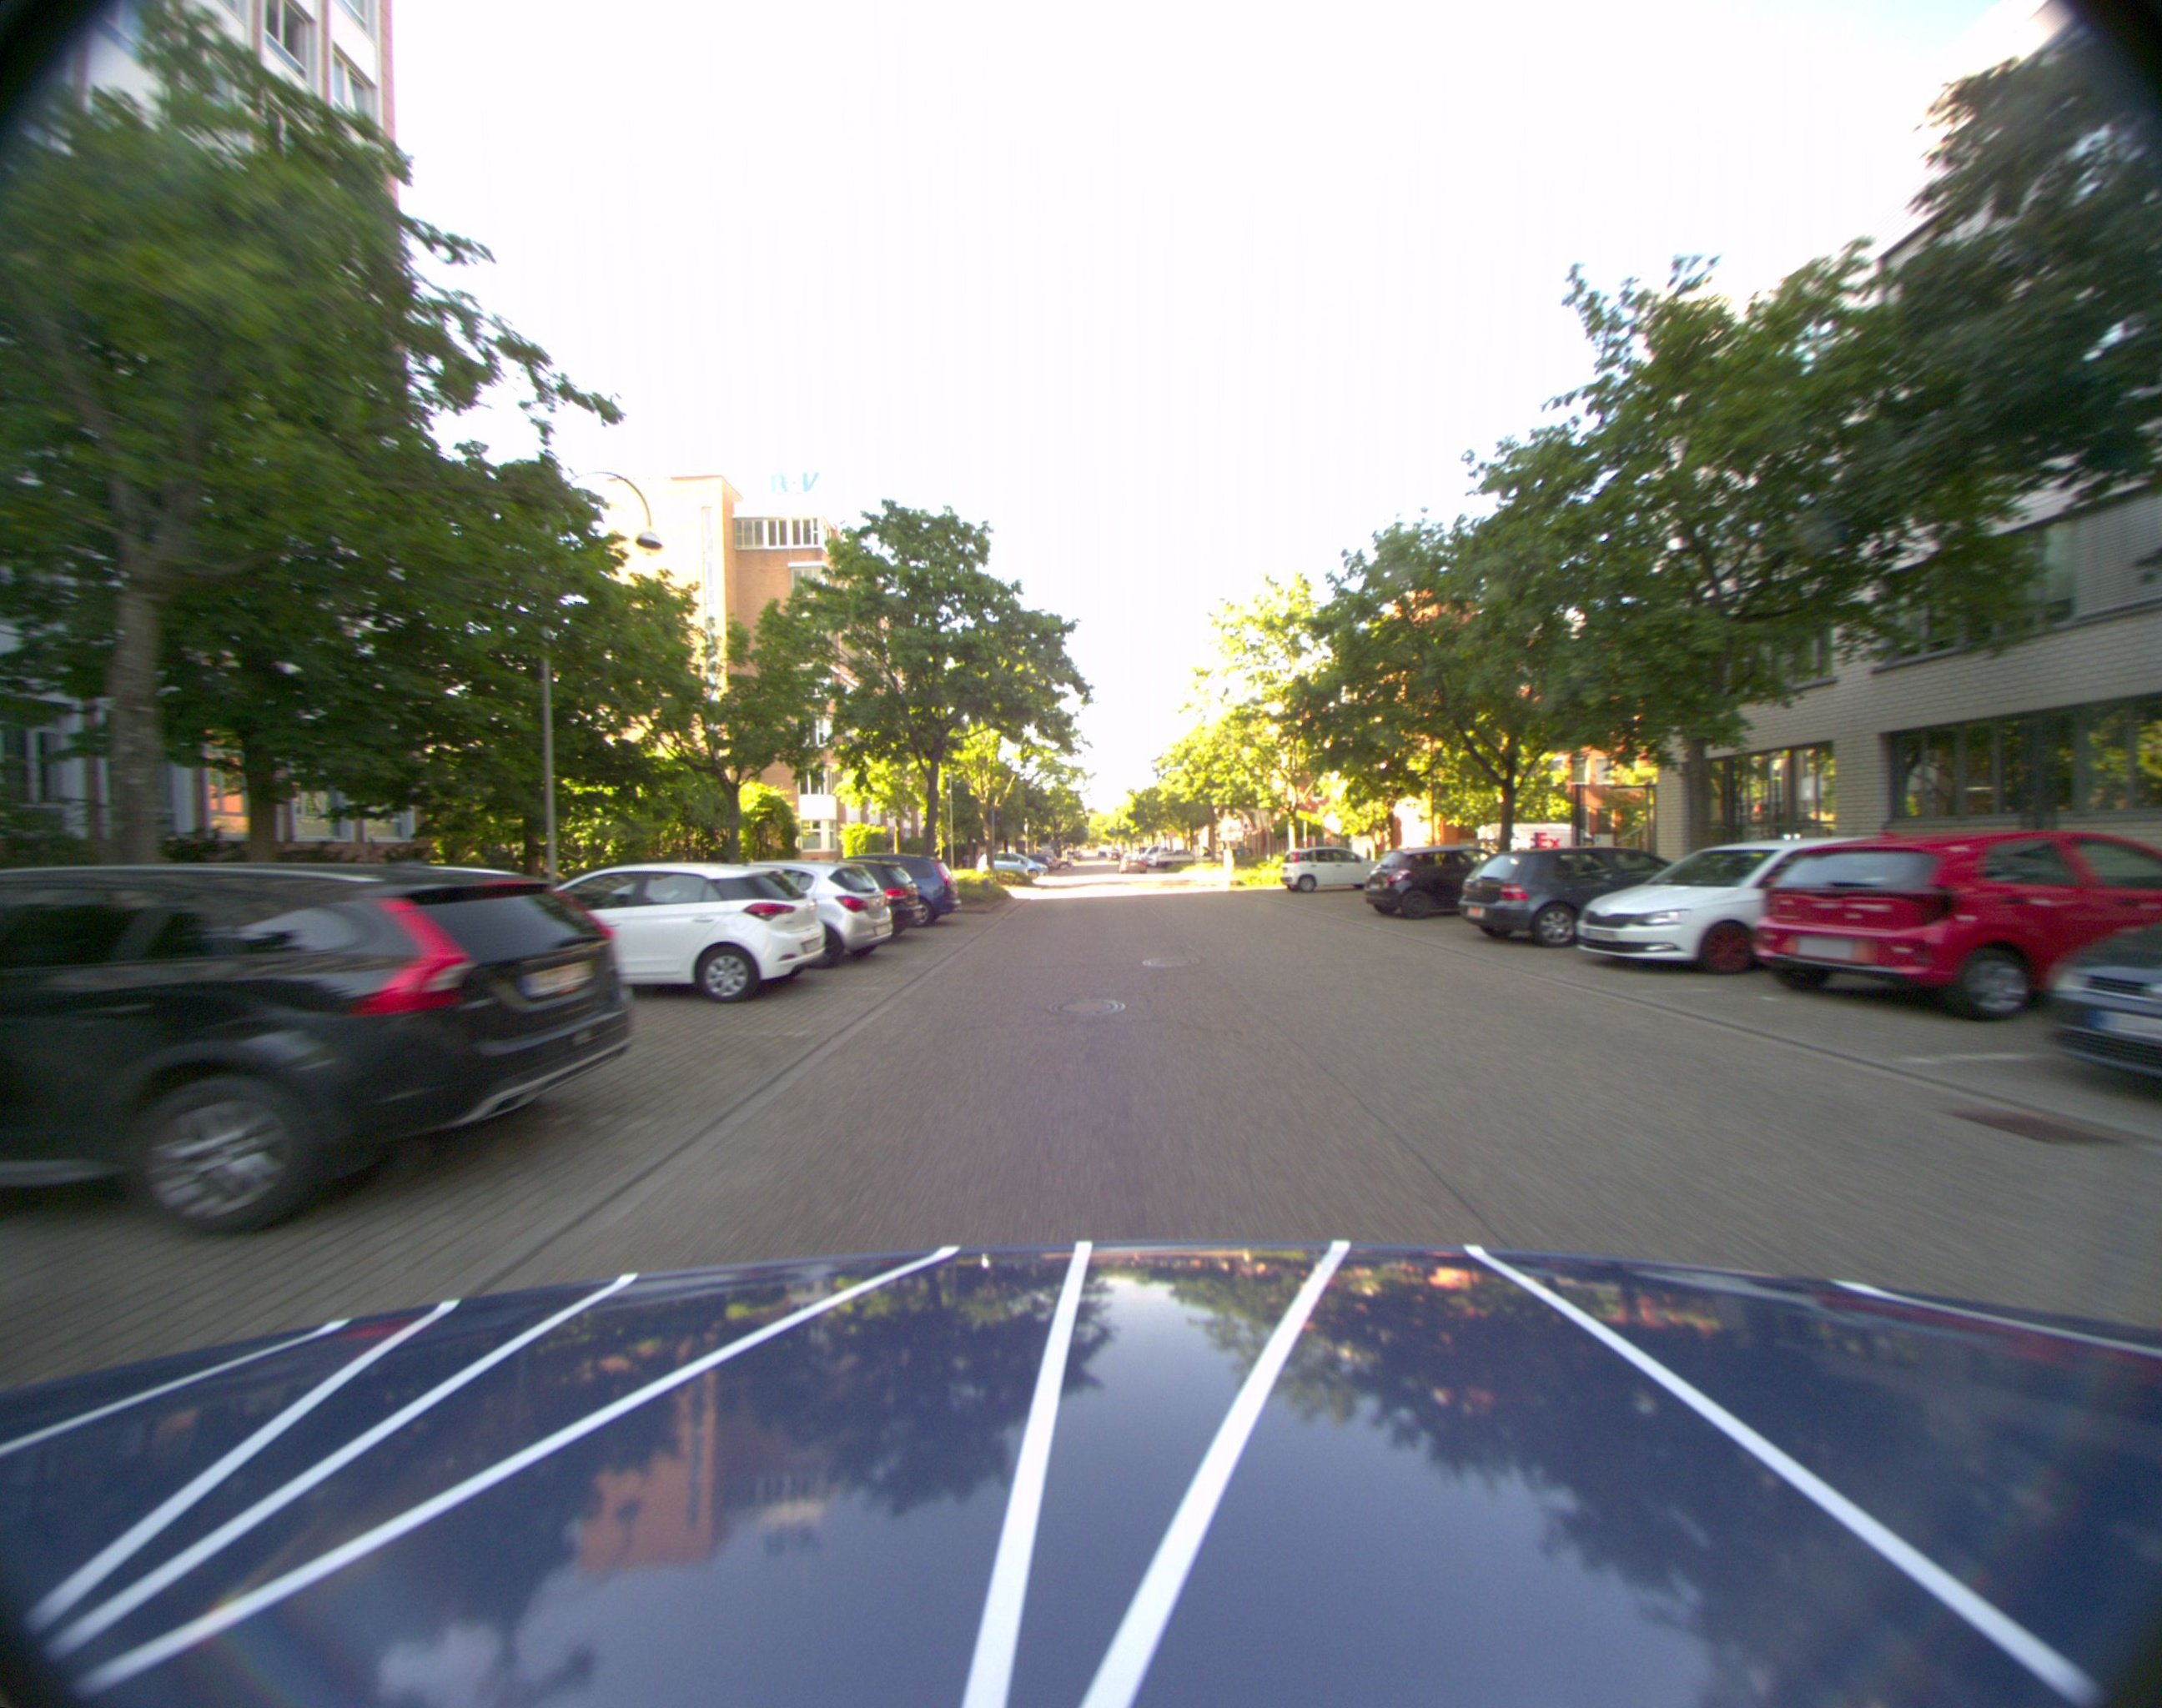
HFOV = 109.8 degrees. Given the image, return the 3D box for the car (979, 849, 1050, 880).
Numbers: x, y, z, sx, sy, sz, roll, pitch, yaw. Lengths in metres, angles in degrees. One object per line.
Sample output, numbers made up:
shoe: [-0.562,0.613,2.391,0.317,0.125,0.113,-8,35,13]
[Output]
car: [-4.075,0.616,47.210,4.164,1.696,1.999,-2,1,-1]

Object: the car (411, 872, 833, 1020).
car: [-4.989,0.967,8.656,3.754,1.444,1.657,0,1,-1]

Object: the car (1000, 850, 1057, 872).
car: [-3.916,0.550,57.302,3.996,1.463,1.953,-2,1,2]

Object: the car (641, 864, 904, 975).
car: [-4.439,0.909,11.222,3.203,1.471,1.589,0,1,4]

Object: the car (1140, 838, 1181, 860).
car: [8.303,-0.519,79.798,3.997,2.095,1.999,-2,1,-1]

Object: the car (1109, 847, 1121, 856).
car: [6.336,-0.497,141.007,1.951,1.463,4.000,-2,1,4]

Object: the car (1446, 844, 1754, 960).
car: [7.737,0.672,11.553,3.539,1.497,1.646,-2,1,0]

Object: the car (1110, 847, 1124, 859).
car: [5.140,-0.121,108.376,1.951,1.555,4.001,-2,0,4]

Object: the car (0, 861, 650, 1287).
car: [-4.591,0.870,3.671,3.982,1.540,1.683,-1,1,-3]

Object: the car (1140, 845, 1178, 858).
car: [8.719,-0.307,85.084,3.997,1.406,1.594,-1,1,-1]

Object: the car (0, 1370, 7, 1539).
car: [-4.429,0.941,0.972,3.581,1.498,1.724,0,1,0]

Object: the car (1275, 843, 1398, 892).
car: [8.668,0.440,25.961,3.630,1.499,1.617,-2,1,-1]

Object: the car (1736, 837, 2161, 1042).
car: [8.223,0.637,6.685,3.539,1.437,1.657,-2,1,-2]

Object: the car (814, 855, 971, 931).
car: [-4.141,0.823,17.000,3.053,1.595,1.604,0,1,3]

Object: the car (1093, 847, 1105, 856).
car: [3.372,-0.480,141.103,1.951,1.617,4.000,-2,1,4]

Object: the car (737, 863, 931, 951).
car: [-4.405,0.912,13.801,2.997,1.451,1.497,0,1,3]

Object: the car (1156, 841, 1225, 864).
car: [8.653,-0.111,60.354,5.252,1.616,1.953,-2,1,2]

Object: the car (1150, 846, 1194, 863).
car: [8.652,0.038,72.501,3.967,1.463,1.953,-2,1,2]

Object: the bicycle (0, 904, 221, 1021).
bicycle: [-9.315,0.990,7.128,0.300,0.911,1.599,-1,1,26]

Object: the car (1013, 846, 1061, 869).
car: [-3.760,0.265,65.543,3.998,1.774,1.952,-2,1,-3]

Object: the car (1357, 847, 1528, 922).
car: [7.576,0.611,16.076,2.933,1.435,1.389,-2,1,1]

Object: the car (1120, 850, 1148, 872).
car: [3.690,0.466,52.951,1.766,1.365,4.000,-2,1,4]

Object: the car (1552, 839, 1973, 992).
car: [7.892,0.656,9.045,3.527,1.521,1.657,-2,1,0]

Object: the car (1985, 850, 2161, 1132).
car: [7.394,0.672,3.907,3.539,1.428,1.657,-2,1,0]

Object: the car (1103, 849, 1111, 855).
car: [6.562,-0.535,191.183,1.951,1.463,4.001,-2,0,4]

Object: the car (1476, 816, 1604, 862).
car: [23.236,-0.766,38.578,5.328,2.087,1.932,-2,1,-1]
